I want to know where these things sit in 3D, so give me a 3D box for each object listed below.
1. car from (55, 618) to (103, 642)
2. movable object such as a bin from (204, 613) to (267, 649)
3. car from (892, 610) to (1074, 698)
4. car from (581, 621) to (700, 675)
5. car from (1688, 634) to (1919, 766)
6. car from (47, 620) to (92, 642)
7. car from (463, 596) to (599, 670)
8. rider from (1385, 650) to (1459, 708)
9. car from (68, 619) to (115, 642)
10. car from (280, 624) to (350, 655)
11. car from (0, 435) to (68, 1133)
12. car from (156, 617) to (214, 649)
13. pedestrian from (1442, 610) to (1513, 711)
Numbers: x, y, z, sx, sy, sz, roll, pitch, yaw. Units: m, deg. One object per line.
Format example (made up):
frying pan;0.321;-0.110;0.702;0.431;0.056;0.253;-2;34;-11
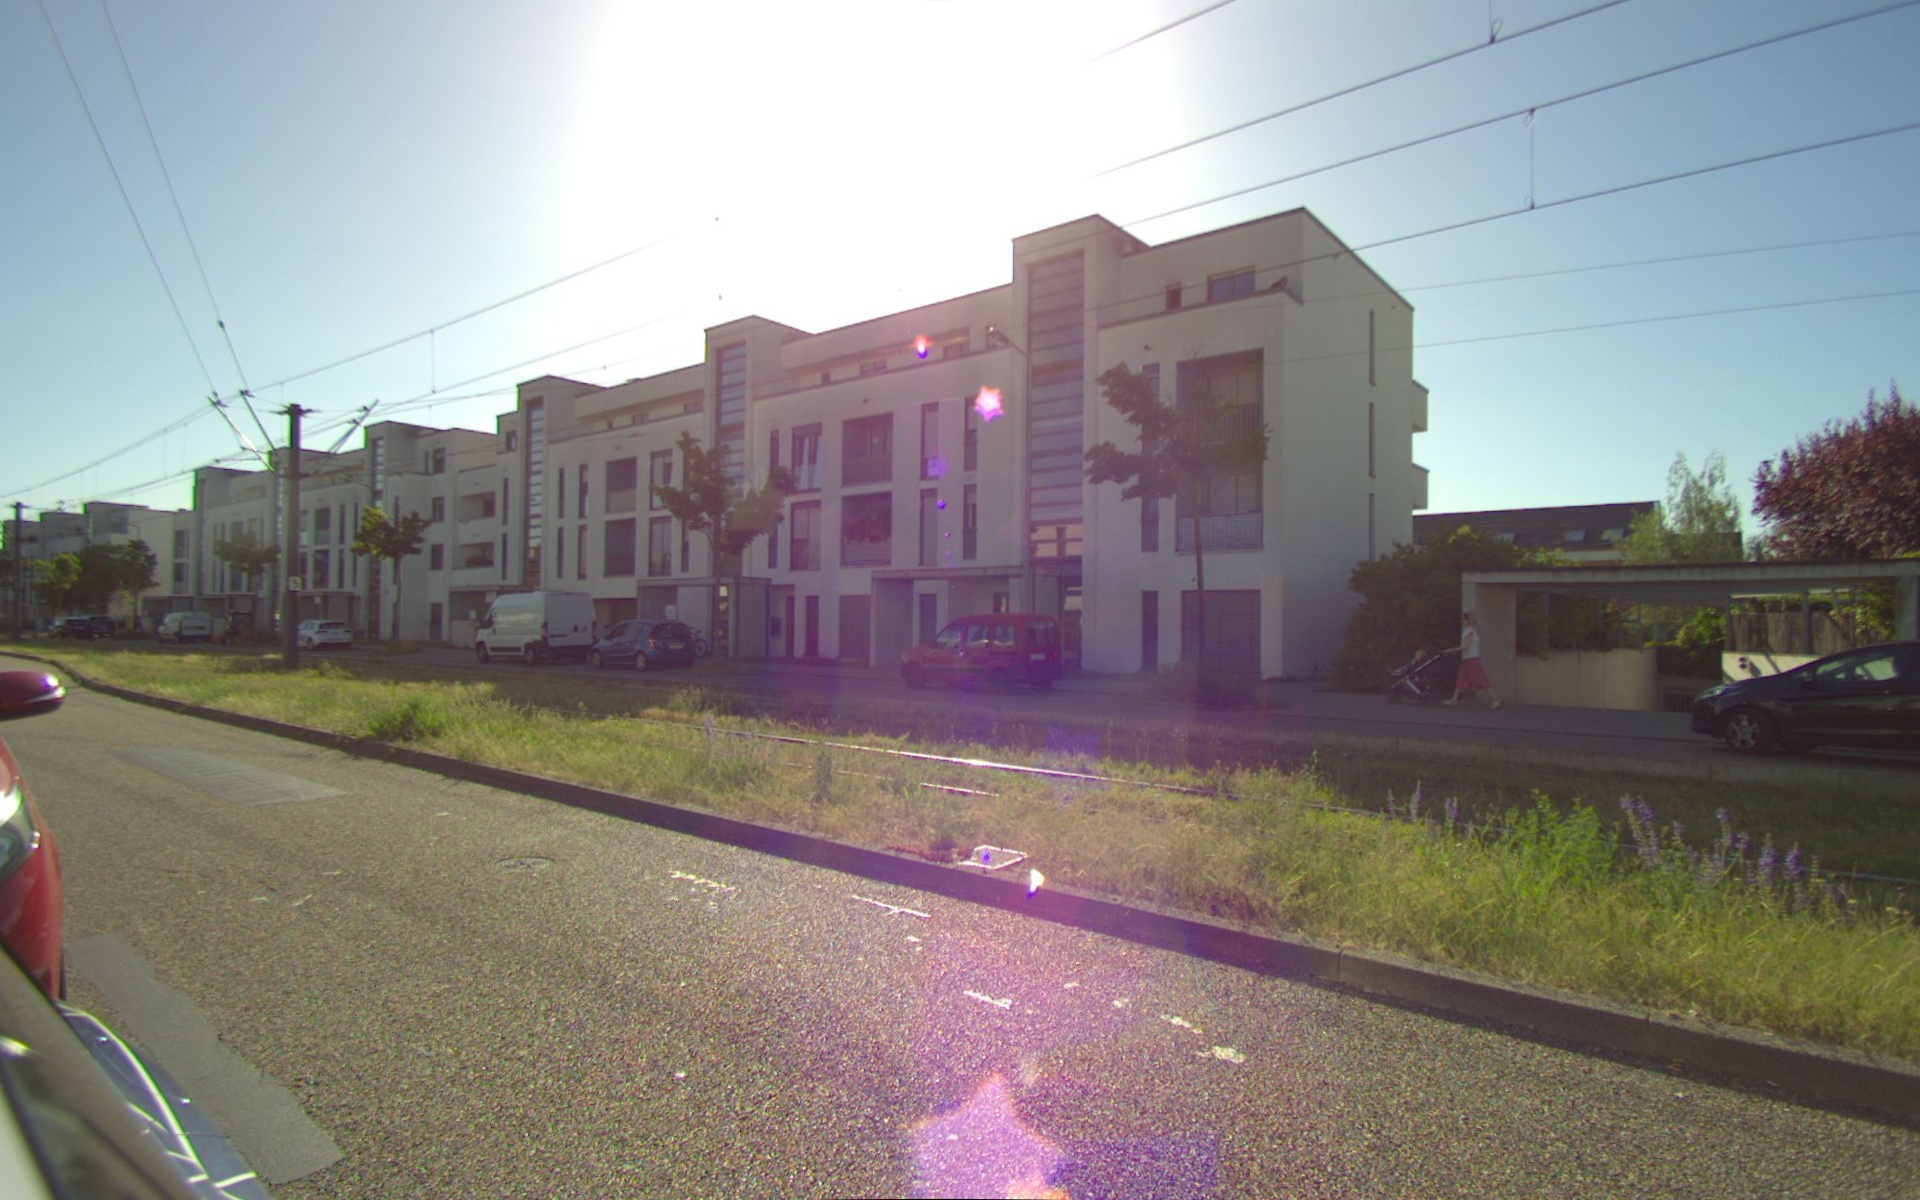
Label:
car;-55.835;1.877;64.120;3.999;1.429;1.769;-1;-4;42
movable object such as a bin;-41.262;1.732;57.632;4.149;1.952;1.745;-1;-1;37
car;0.477;1.154;22.969;3.836;1.809;1.861;-1;-1;42
car;-10.044;1.450;31.713;3.840;1.548;1.805;-1;-1;41
car;11.010;1.145;11.789;1.680;1.442;3.749;3;-4;-34
car;-67.564;2.355;76.792;4.149;1.611;1.745;-1;-1;37
car;-15.361;1.132;36.108;5.583;2.463;2.119;-1;-1;39
rider;8.663;1.459;18.999;0.769;1.010;1.046;0;-1;-44
car;-63.045;2.206;73.421;4.149;1.611;1.745;-1;-1;37
car;-31.199;1.888;48.940;4.149;1.443;1.503;-1;-1;37
car;-5.171;0.563;3.931;5.203;1.948;1.954;-1;0;42
car;-47.234;1.986;61.664;4.149;1.884;1.745;-1;-1;37
pedestrian;9.335;1.063;18.268;0.806;1.761;0.910;0;-1;-44
